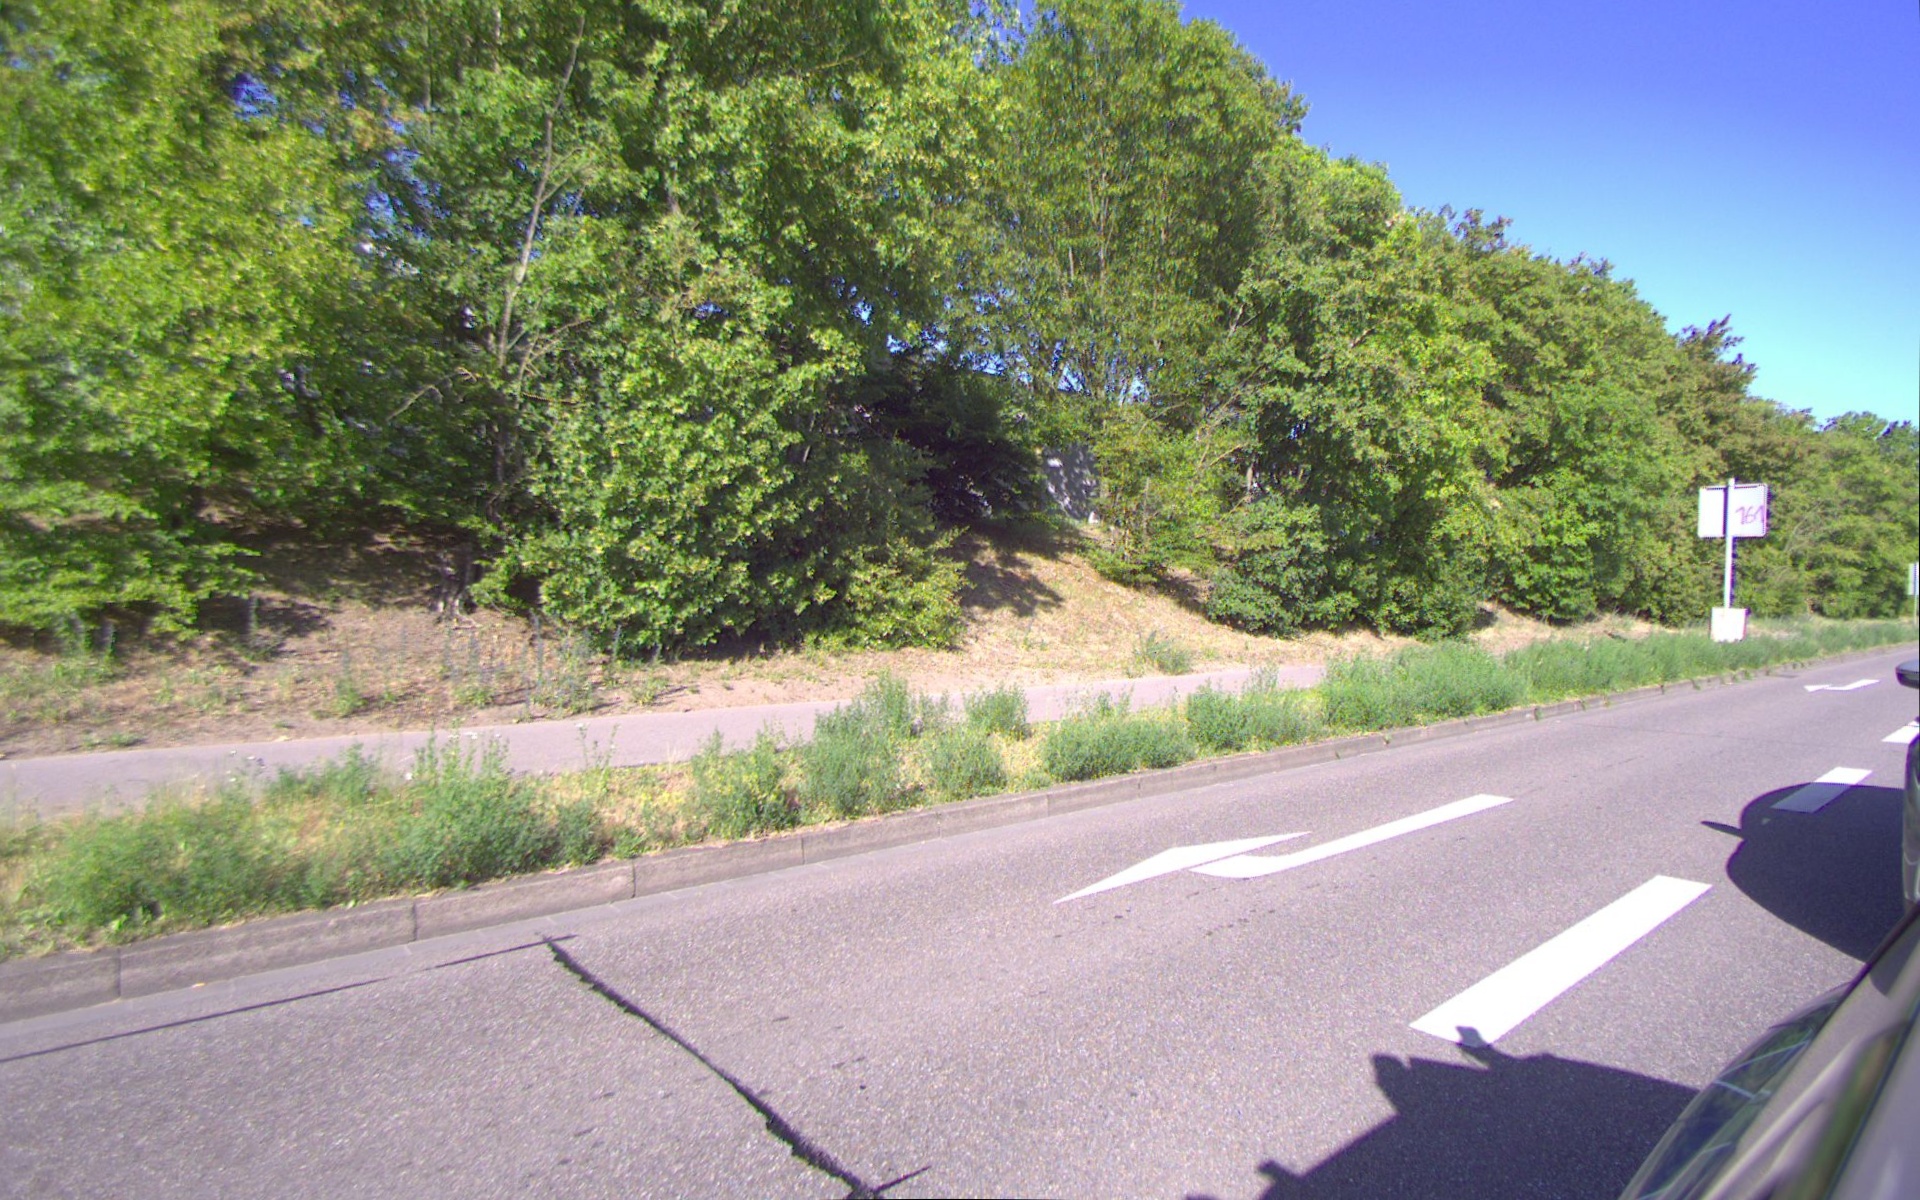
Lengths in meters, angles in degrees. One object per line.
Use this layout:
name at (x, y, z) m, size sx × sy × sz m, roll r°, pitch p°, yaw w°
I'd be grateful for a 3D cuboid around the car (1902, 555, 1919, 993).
car at (5.584, 0.657, 4.331) m, size 3.863 × 1.617 × 1.869 m, roll 0°, pitch 0°, yaw -41°
